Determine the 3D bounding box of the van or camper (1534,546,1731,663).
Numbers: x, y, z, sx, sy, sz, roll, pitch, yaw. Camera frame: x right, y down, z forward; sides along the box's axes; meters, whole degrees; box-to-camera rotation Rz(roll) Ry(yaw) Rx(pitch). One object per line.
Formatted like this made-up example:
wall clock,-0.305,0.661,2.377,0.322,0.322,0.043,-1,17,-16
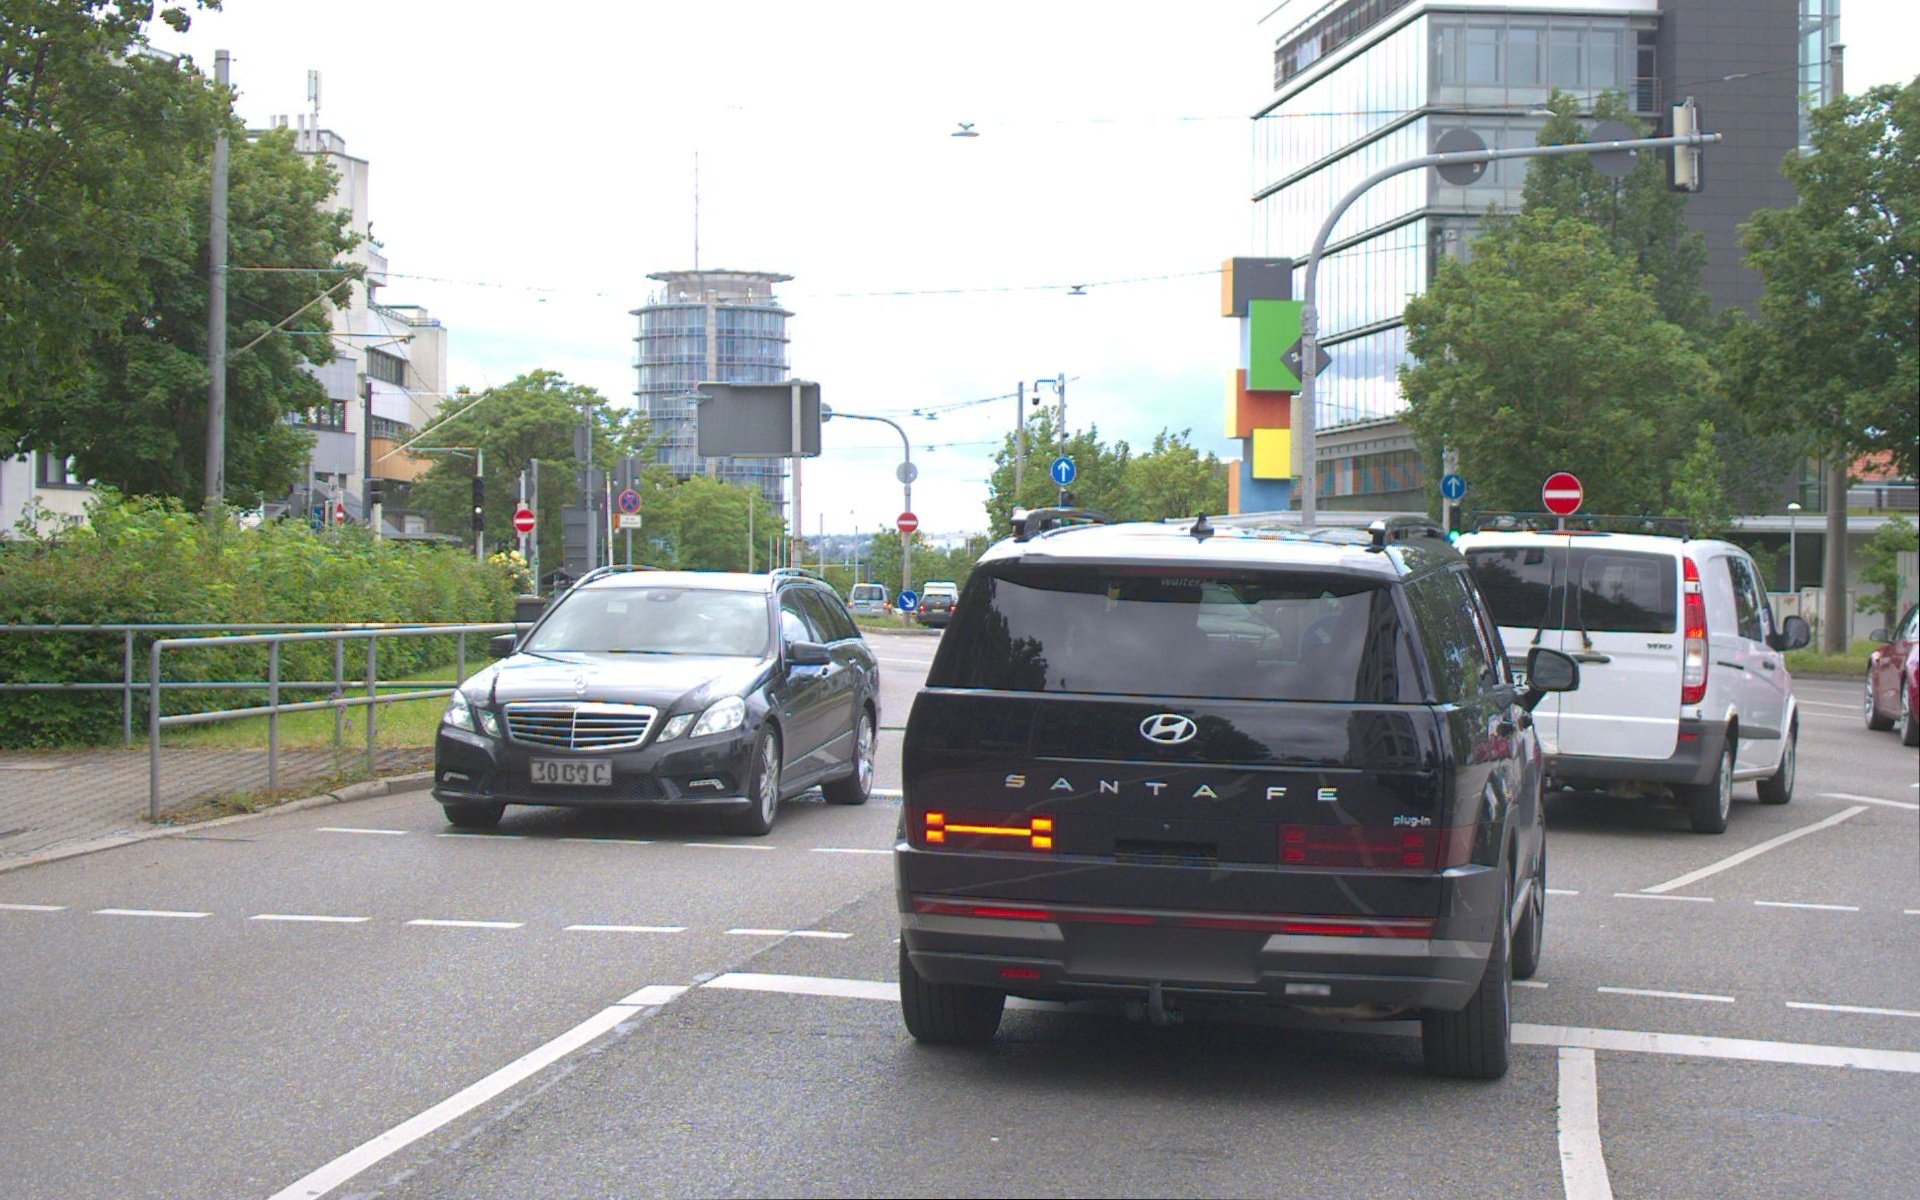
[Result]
van or camper,11.932,0.051,61.306,1.993,1.911,4.410,1,1,-9

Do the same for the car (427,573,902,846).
car,-1.617,0.564,20.604,1.846,1.432,4.704,0,0,8

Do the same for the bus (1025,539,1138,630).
bus,4.260,-0.537,122.545,2.966,3.106,9.245,-1,0,-5

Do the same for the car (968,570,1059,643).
car,1.460,0.153,94.953,1.902,1.853,4.710,2,1,-6

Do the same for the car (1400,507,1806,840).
car,4.477,0.443,23.348,1.904,1.962,4.631,2,1,20

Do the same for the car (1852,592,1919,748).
car,9.972,0.670,33.617,1.874,1.413,4.441,2,1,8

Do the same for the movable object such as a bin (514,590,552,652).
movable object such as a bin,-7.188,0.352,57.847,0.563,1.009,0.838,1,0,-11

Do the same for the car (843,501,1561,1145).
car,1.048,0.608,11.920,1.903,1.725,4.444,2,1,11

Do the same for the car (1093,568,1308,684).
car,3.291,0.331,47.950,1.782,1.421,4.397,2,1,-12
